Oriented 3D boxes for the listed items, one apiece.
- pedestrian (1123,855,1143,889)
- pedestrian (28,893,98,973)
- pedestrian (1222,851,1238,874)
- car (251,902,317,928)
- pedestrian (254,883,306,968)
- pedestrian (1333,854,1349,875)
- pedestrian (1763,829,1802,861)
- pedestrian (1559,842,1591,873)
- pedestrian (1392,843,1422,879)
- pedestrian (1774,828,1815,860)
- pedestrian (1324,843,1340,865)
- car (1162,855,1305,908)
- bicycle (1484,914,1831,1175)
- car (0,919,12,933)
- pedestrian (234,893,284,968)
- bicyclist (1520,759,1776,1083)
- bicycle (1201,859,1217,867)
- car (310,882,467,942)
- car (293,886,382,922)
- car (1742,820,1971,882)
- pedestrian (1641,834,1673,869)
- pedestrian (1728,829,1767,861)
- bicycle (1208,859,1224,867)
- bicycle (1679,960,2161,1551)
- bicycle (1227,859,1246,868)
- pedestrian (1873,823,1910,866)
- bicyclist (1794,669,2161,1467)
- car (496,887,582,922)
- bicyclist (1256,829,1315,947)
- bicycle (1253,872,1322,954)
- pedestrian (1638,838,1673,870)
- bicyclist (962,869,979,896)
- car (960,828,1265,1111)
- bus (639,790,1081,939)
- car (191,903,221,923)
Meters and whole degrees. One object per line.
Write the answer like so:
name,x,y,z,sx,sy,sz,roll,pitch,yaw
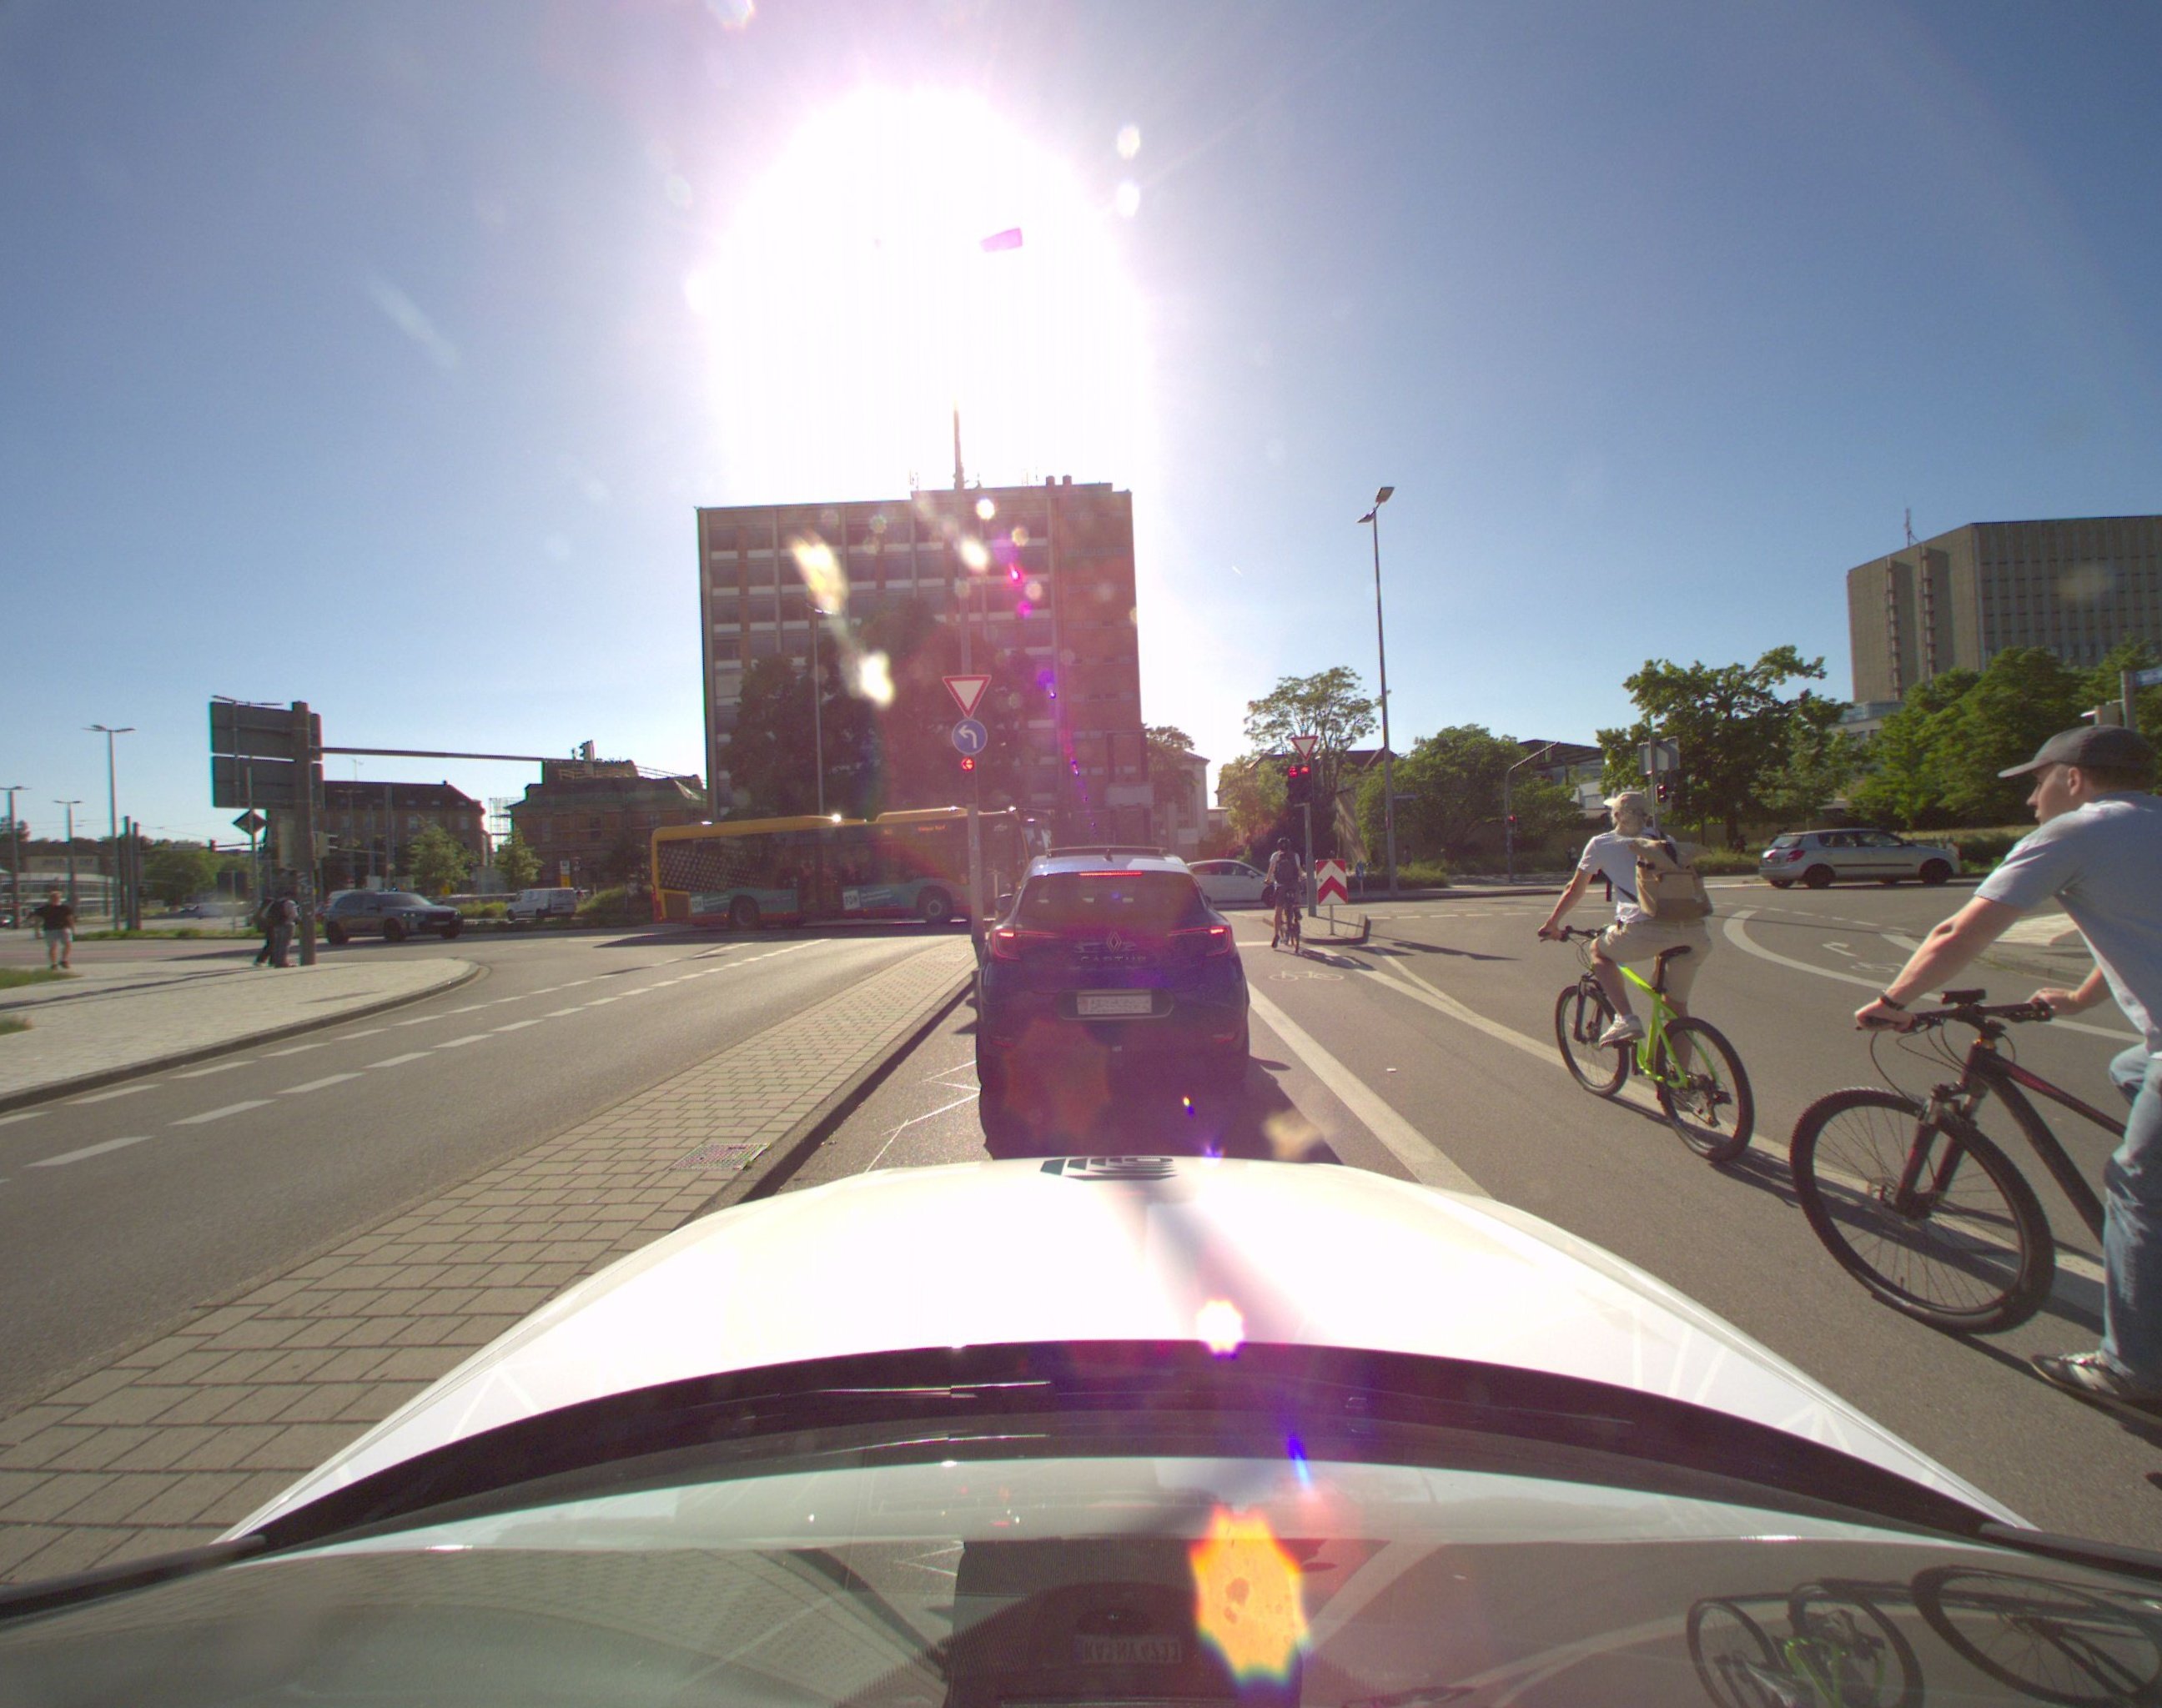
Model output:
pedestrian,2.970,1.029,46.546,0.926,1.855,0.809,-3,-1,11
pedestrian,-24.840,1.906,19.877,0.856,1.845,0.847,-3,-1,25
pedestrian,13.428,0.746,73.279,1.152,2.013,1.165,-2,-1,2
car,-53.583,4.088,54.756,3.771,1.518,2.012,-3,-1,27
pedestrian,-18.162,1.599,18.466,0.673,1.855,0.608,-3,-1,25
pedestrian,20.879,0.812,65.407,0.932,1.613,1.176,-2,-1,2
pedestrian,35.043,-0.425,40.705,1.138,1.521,0.880,-3,-1,5
pedestrian,24.809,0.185,40.916,1.078,1.521,0.933,-2,-1,11
pedestrian,17.510,0.382,43.707,1.288,1.855,0.969,-3,-1,13
pedestrian,34.965,-0.478,39.931,1.123,1.521,0.992,-2,-1,5
pedestrian,20.262,0.029,65.814,0.949,1.741,0.984,-2,-1,2
car,4.546,0.808,24.053,3.958,1.373,1.767,-3,0,15
bicycle,3.067,0.929,4.610,0.669,1.050,1.844,0,0,1
car,-113.433,7.567,85.123,3.948,1.389,2.013,-4,-1,36
pedestrian,-19.378,1.789,19.199,0.627,1.697,0.608,-3,-1,25
bicyclist,3.068,0.328,4.529,0.672,1.583,1.081,0,0,1
bicycle,15.555,1.114,99.013,1.764,0.893,0.766,-2,-1,2
car,-24.050,2.013,28.307,4.687,1.861,2.015,-3,-1,20
car,-58.672,3.942,64.247,6.869,2.547,3.031,-3,-1,28
car,19.821,-0.028,21.023,3.818,1.403,1.898,-1,-3,12
pedestrian,29.163,-0.122,41.244,0.959,1.732,0.926,-2,-1,3
pedestrian,33.017,-0.458,40.348,1.140,1.521,0.944,-2,-1,7
bicycle,15.699,1.059,94.643,1.764,0.898,0.766,-2,-1,2
bicycle,2.644,0.938,2.120,0.745,1.050,1.903,-3,0,0
bicycle,15.808,0.949,82.831,1.770,0.823,0.763,-2,-1,-9
pedestrian,40.102,-0.464,40.309,0.891,2.079,0.814,-2,-1,5
bicyclist,2.618,0.444,2.098,0.737,1.674,0.865,-2,-1,0
car,-34.334,3.207,51.587,4.954,2.013,2.084,-3,-1,23
bicyclist,3.209,0.527,12.857,0.674,1.785,0.939,-1,-1,0
bicycle,3.217,0.885,12.830,0.613,1.138,1.826,-2,0,0
pedestrian,28.184,-0.006,39.982,1.069,1.521,0.880,-2,-1,6
bicyclist,-6.006,1.558,44.222,0.641,1.412,0.642,-4,-3,26
car,0.218,0.685,6.764,1.788,1.655,3.853,-1,0,1
bus,-6.447,0.429,23.513,12.324,3.570,3.265,-3,0,17
car,-101.246,6.795,94.191,3.948,2.014,2.079,-1,-1,39
